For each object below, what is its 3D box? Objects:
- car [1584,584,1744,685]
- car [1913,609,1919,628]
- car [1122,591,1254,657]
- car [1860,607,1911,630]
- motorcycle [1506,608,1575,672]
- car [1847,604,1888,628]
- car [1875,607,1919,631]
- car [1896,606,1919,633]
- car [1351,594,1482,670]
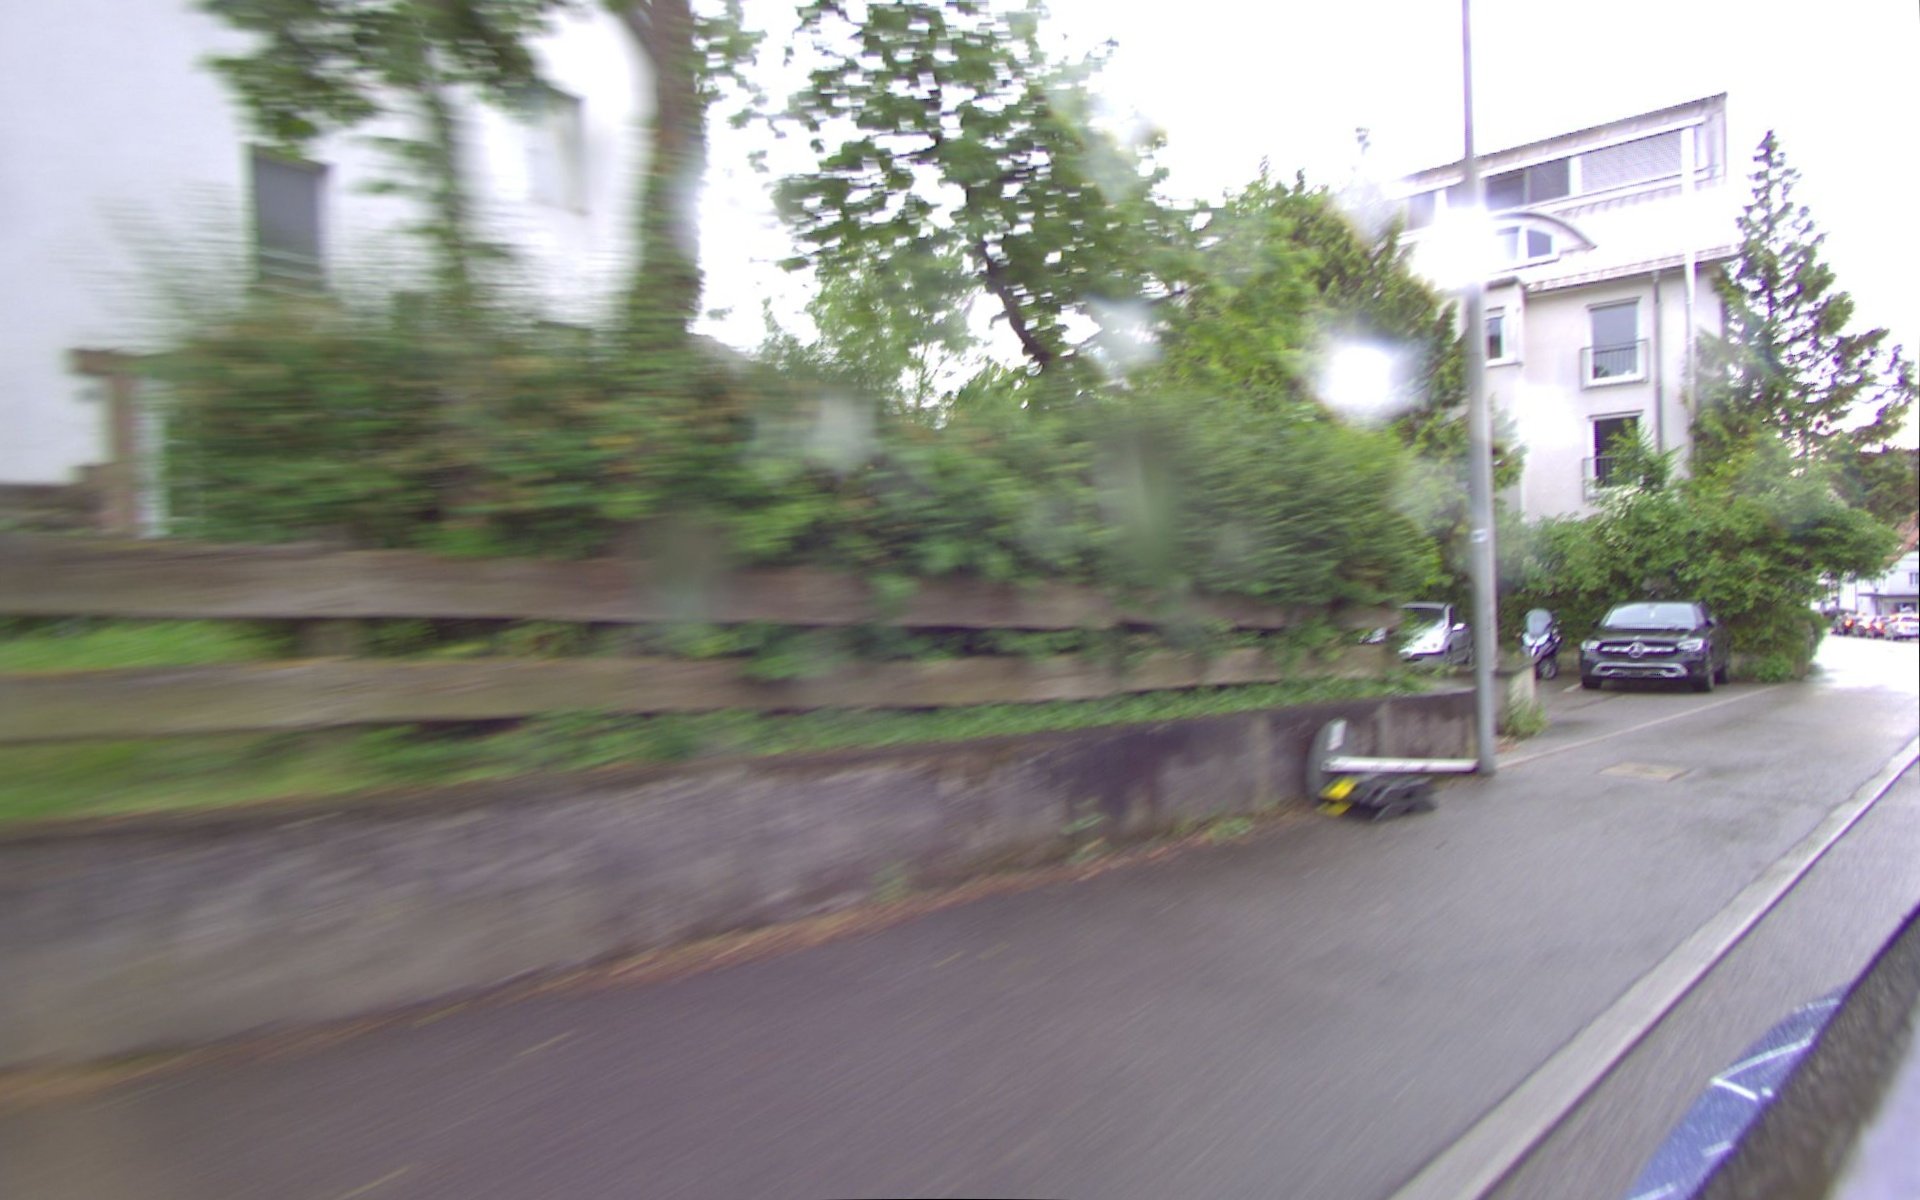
[{"bbox_3d":[12.832,0.583,18.317,1.779,1.590,4.656,-3,-2,42],"label":"car"},{"bbox_3d":[68.122,1.276,70.717,1.732,1.372,4.006,-1,-1,36],"label":"car"},{"bbox_3d":[5.475,0.532,24.101,1.757,1.453,3.271,1,0,40],"label":"car"},{"bbox_3d":[61.401,1.210,67.221,1.935,1.459,4.950,-1,-1,36],"label":"car"},{"bbox_3d":[11.707,0.757,20.368,0.850,1.192,2.458,0,0,39],"label":"motorcycle"},{"bbox_3d":[65.512,1.146,73.111,1.844,1.685,4.162,-1,-1,37],"label":"car"},{"bbox_3d":[57.932,1.147,62.405,1.794,1.458,4.626,-1,-1,37],"label":"car"},{"bbox_3d":[53.194,1.069,55.897,1.795,1.458,4.623,-1,-1,38],"label":"car"},{"bbox_3d":[9.798,0.621,21.560,1.734,1.453,3.971,1,0,37],"label":"car"}]
